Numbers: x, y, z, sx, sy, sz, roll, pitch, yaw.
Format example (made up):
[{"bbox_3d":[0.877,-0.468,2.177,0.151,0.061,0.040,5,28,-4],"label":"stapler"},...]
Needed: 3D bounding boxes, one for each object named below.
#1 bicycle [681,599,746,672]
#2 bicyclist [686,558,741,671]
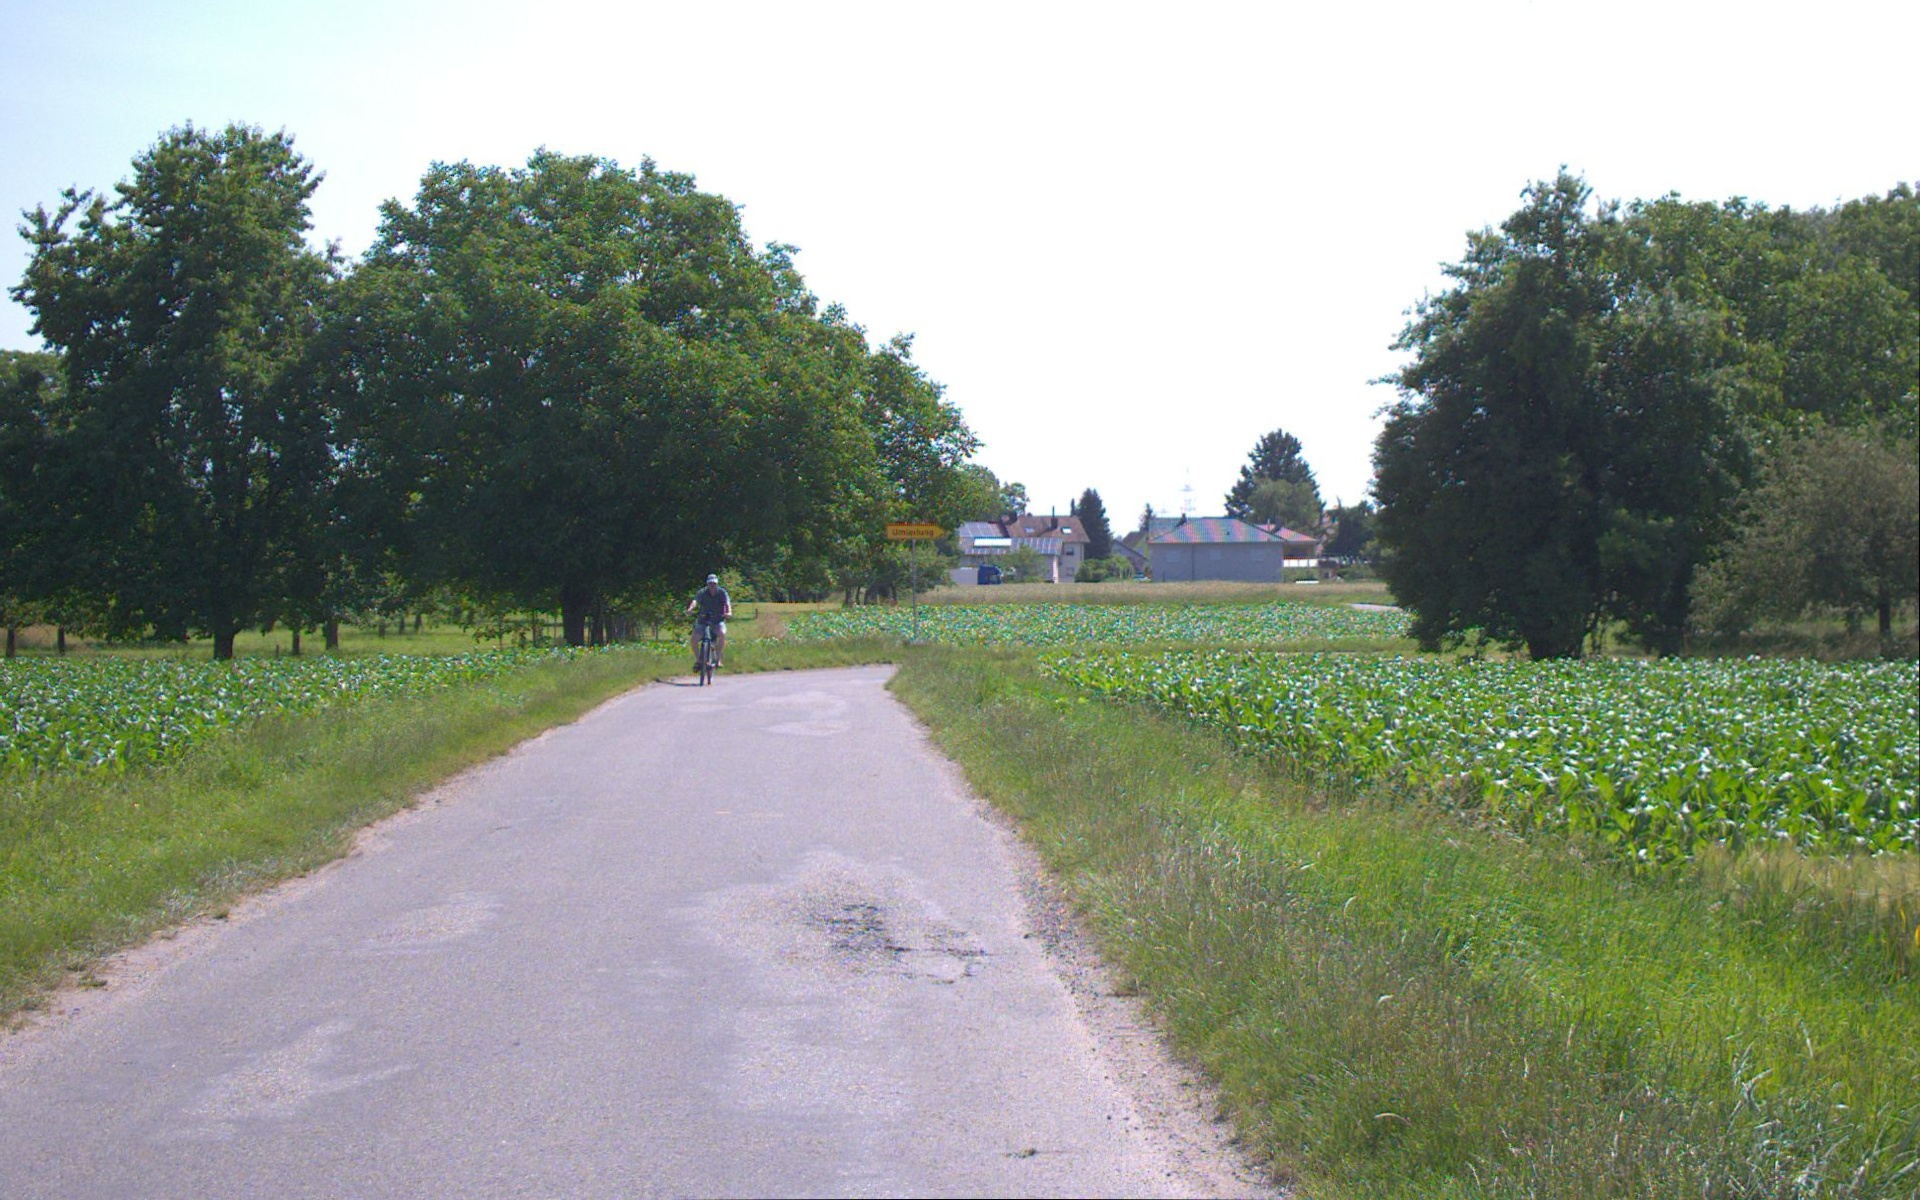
[{"bbox_3d":[-3.995,0.563,55.816,0.750,1.123,1.908,-2,0,4],"label":"bicycle"},{"bbox_3d":[-4.001,0.232,55.819,0.750,1.785,0.717,-2,0,4],"label":"bicyclist"}]
